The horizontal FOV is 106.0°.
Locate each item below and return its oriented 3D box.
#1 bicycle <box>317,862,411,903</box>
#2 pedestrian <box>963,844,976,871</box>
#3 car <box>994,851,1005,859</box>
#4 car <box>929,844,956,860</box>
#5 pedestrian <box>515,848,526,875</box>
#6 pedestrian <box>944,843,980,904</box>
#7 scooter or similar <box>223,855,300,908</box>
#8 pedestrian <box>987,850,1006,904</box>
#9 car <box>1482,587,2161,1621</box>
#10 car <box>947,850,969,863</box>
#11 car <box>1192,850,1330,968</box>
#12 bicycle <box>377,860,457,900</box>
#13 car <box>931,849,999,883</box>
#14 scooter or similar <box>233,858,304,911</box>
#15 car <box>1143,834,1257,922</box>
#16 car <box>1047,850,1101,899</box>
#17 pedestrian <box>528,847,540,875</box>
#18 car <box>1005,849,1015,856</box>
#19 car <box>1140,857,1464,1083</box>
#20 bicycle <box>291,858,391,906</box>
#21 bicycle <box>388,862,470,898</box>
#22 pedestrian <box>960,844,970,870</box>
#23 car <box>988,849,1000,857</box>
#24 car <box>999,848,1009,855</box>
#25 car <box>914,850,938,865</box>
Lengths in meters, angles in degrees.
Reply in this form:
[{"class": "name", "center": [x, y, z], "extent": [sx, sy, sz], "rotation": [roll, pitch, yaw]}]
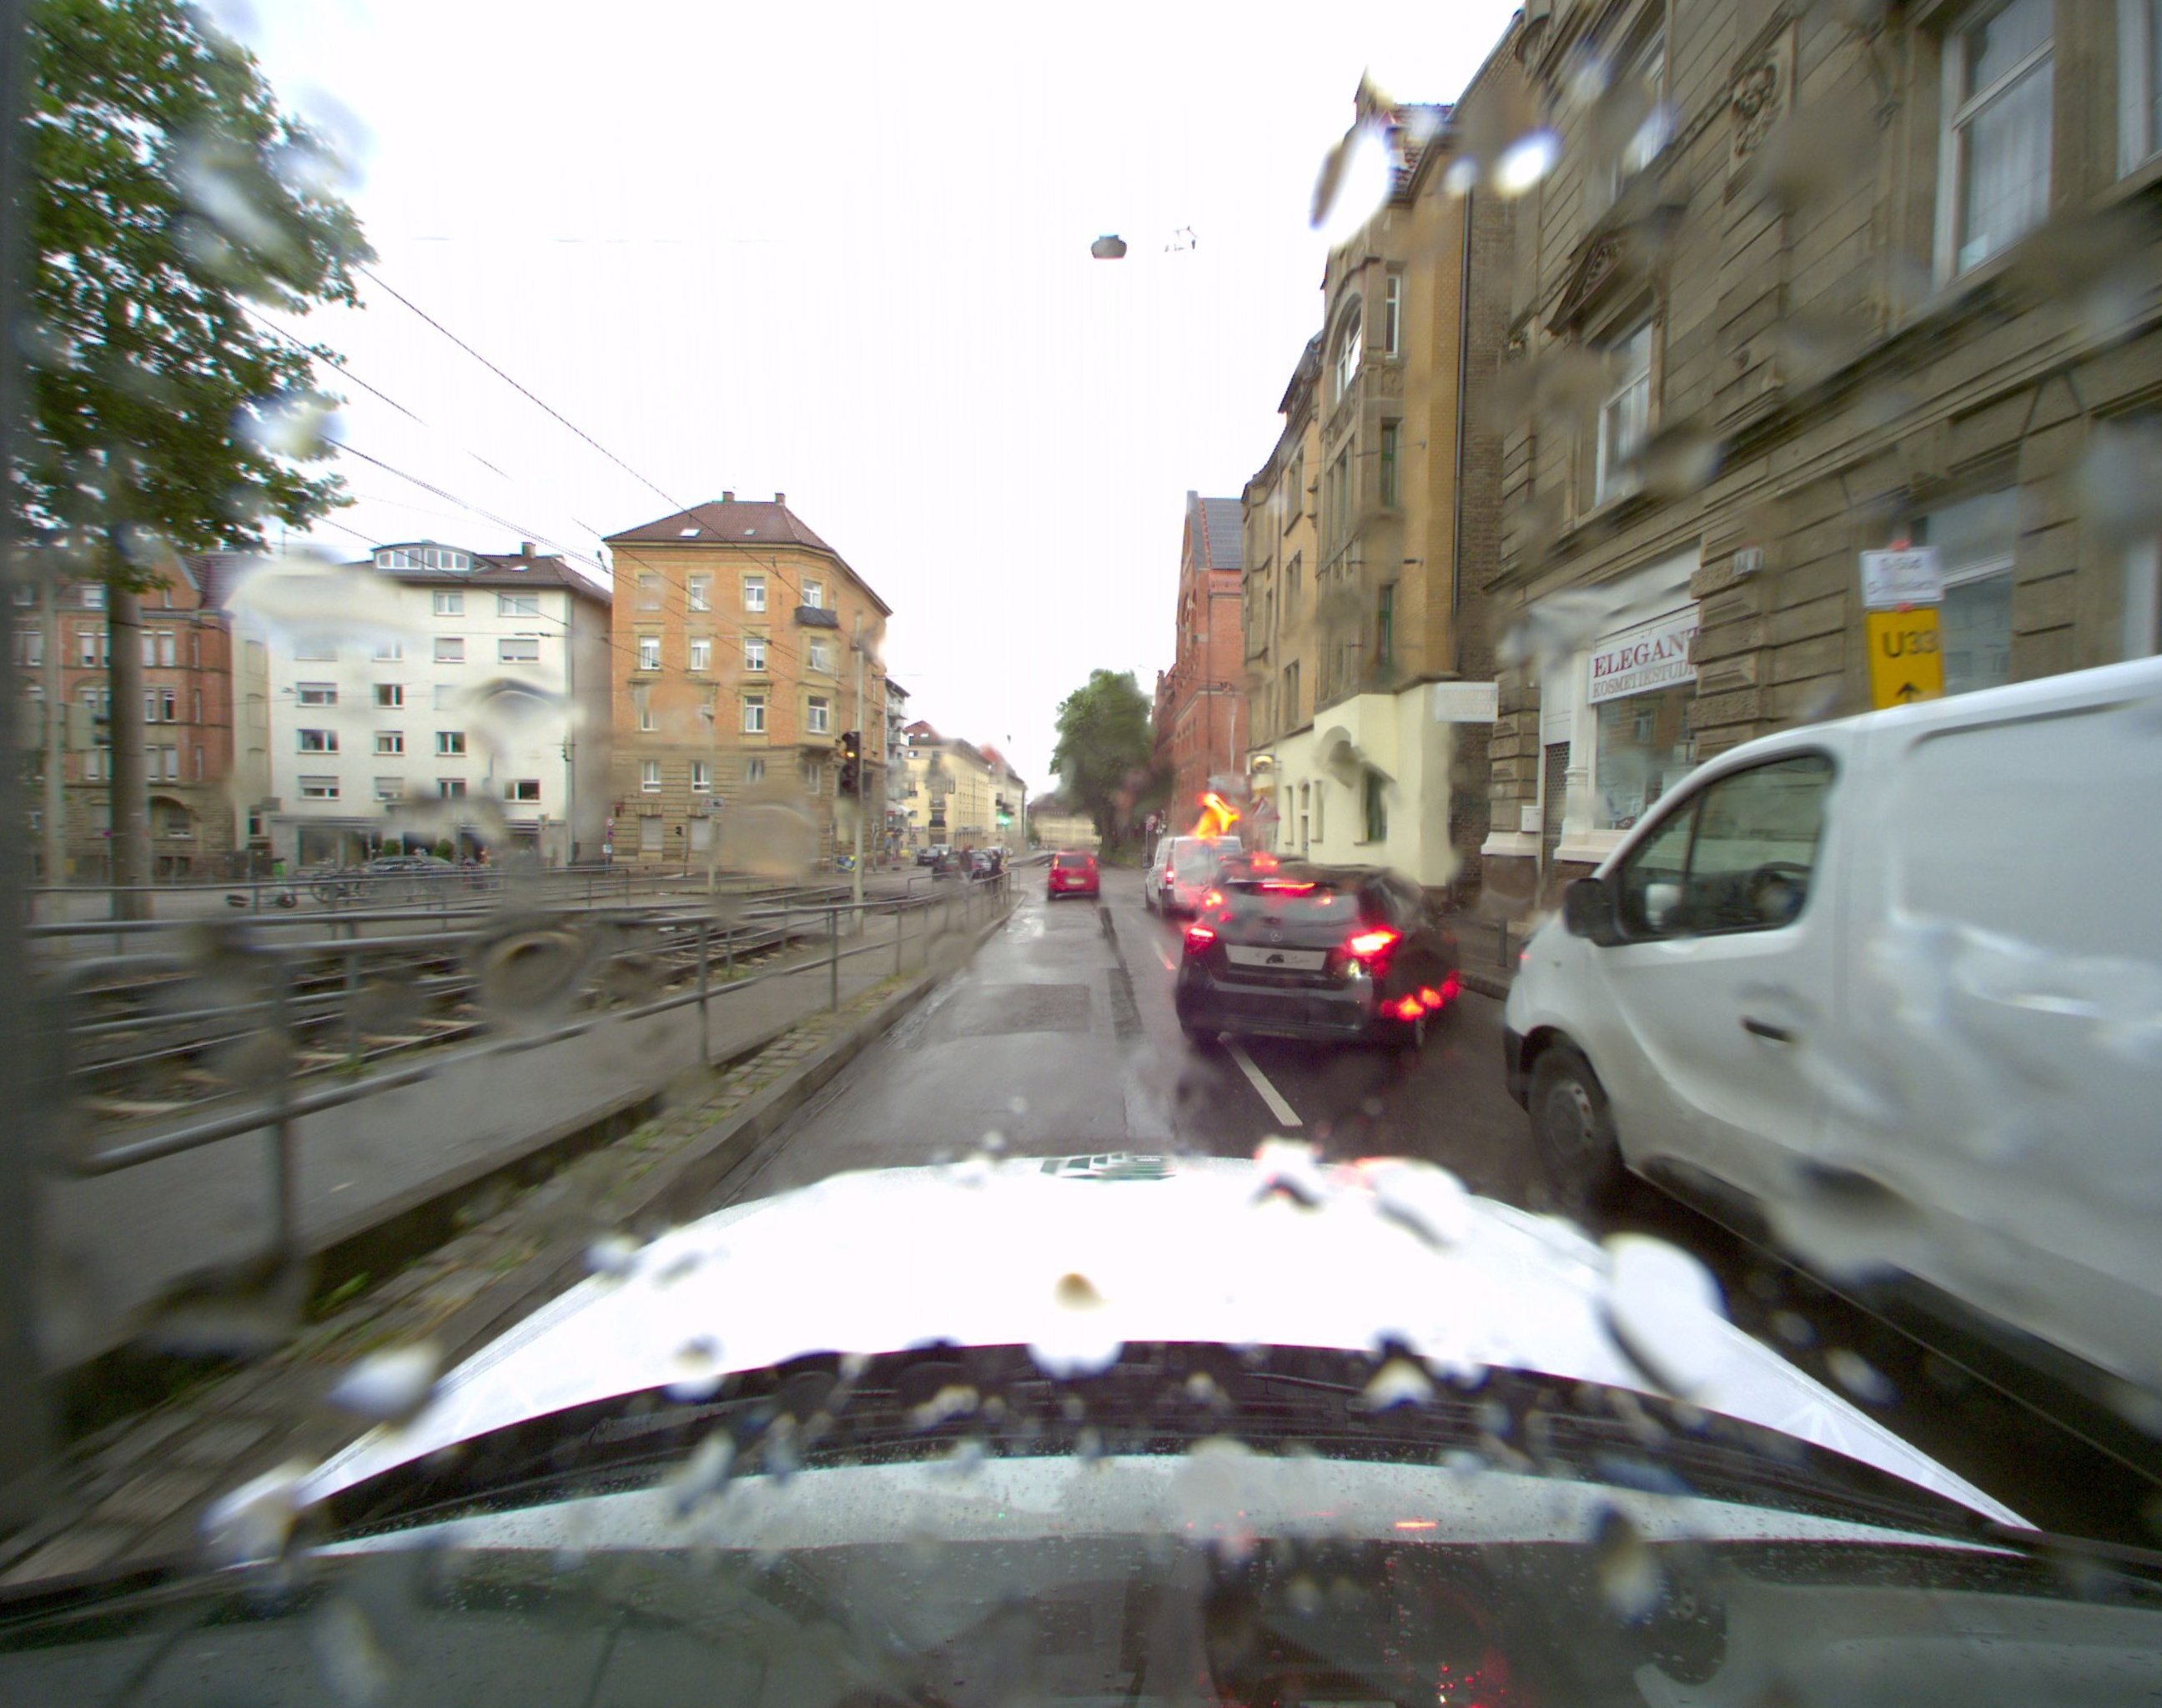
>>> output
[{"class": "bicycle", "center": [-19.150, 0.755, 21.781], "extent": [1.871, 1.061, 0.516], "rotation": [0, 0, -12]}, {"class": "pedestrian", "center": [-7.081, 0.214, 51.813], "extent": [0.675, 1.661, 0.677], "rotation": [0, 0, 7]}, {"class": "car", "center": [-12.981, 0.116, 129.206], "extent": [1.390, 1.171, 3.162], "rotation": [0, 0, 1]}, {"class": "car", "center": [-13.331, -0.221, 78.685], "extent": [1.780, 1.530, 4.463], "rotation": [0, 0, 1]}, {"class": "pedestrian", "center": [-33.251, 0.432, 48.322], "extent": [0.520, 1.622, 0.480], "rotation": [0, 0, -39]}, {"class": "pedestrian", "center": [-3.438, 0.561, 23.587], "extent": [0.745, 1.724, 0.732], "rotation": [0, 0, -43]}, {"class": "scooter or similar", "center": [-19.328, 0.634, 19.220], "extent": [0.296, 1.195, 1.259], "rotation": [0, 0, 40]}, {"class": "pedestrian", "center": [-2.442, 0.660, 23.498], "extent": [0.531, 1.530, 0.435], "rotation": [0, 0, -8]}, {"class": "car", "center": [2.993, 0.470, 1.926], "extent": [1.914, 1.936, 4.687], "rotation": [0, 0, 2]}, {"class": "car", "center": [-12.824, 0.271, 85.121], "extent": [1.674, 1.356, 3.704], "rotation": [0, 0, 1]}, {"class": "car", "center": [2.629, 0.679, 12.433], "extent": [1.703, 1.469, 4.292], "rotation": [0, 0, 9]}, {"class": "bicycle", "center": [-19.384, 0.757, 23.812], "extent": [1.767, 1.142, 0.516], "rotation": [0, 0, -11]}, {"class": "car", "center": [-5.423, 0.510, 38.042], "extent": [3.122, 1.489, 1.433], "rotation": [1, 1, 40]}, {"class": "scooter or similar", "center": [-18.789, 0.682, 18.847], "extent": [0.357, 1.195, 1.119], "rotation": [0, 0, 40]}, {"class": "car", "center": [2.644, 0.479, 19.124], "extent": [1.928, 1.831, 4.278], "rotation": [0, 0, -2]}, {"class": "car", "center": [-0.262, 0.632, 27.109], "extent": [1.675, 1.489, 3.611], "rotation": [0, 0, -1]}, {"class": "pedestrian", "center": [-32.565, 0.425, 48.478], "extent": [0.520, 1.622, 0.480], "rotation": [0, 0, -39]}, {"class": "car", "center": [-13.136, -0.298, 150.811], "extent": [1.390, 1.171, 3.162], "rotation": [0, 0, 1]}, {"class": "car", "center": [2.243, 0.734, 7.317], "extent": [1.877, 1.390, 4.025], "rotation": [0, 0, 29]}, {"class": "bicycle", "center": [-18.867, 0.699, 20.792], "extent": [1.871, 1.195, 0.516], "rotation": [0, 0, -11]}, {"class": "bicycle", "center": [-19.599, 0.767, 24.506], "extent": [1.871, 1.065, 0.516], "rotation": [0, 0, -11]}, {"class": "pedestrian", "center": [-7.544, 0.201, 52.818], "extent": [0.516, 1.666, 0.477], "rotation": [1, 0, 3]}, {"class": "car", "center": [-13.073, -0.101, 122.555], "extent": [1.390, 1.171, 3.162], "rotation": [0, 0, 1]}, {"class": "car", "center": [-13.099, -0.354, 138.247], "extent": [1.390, 1.171, 3.162], "rotation": [0, 0, 1]}, {"class": "car", "center": [-13.760, 0.293, 72.287], "extent": [1.447, 1.318, 3.294], "rotation": [1, 1, 0]}]
